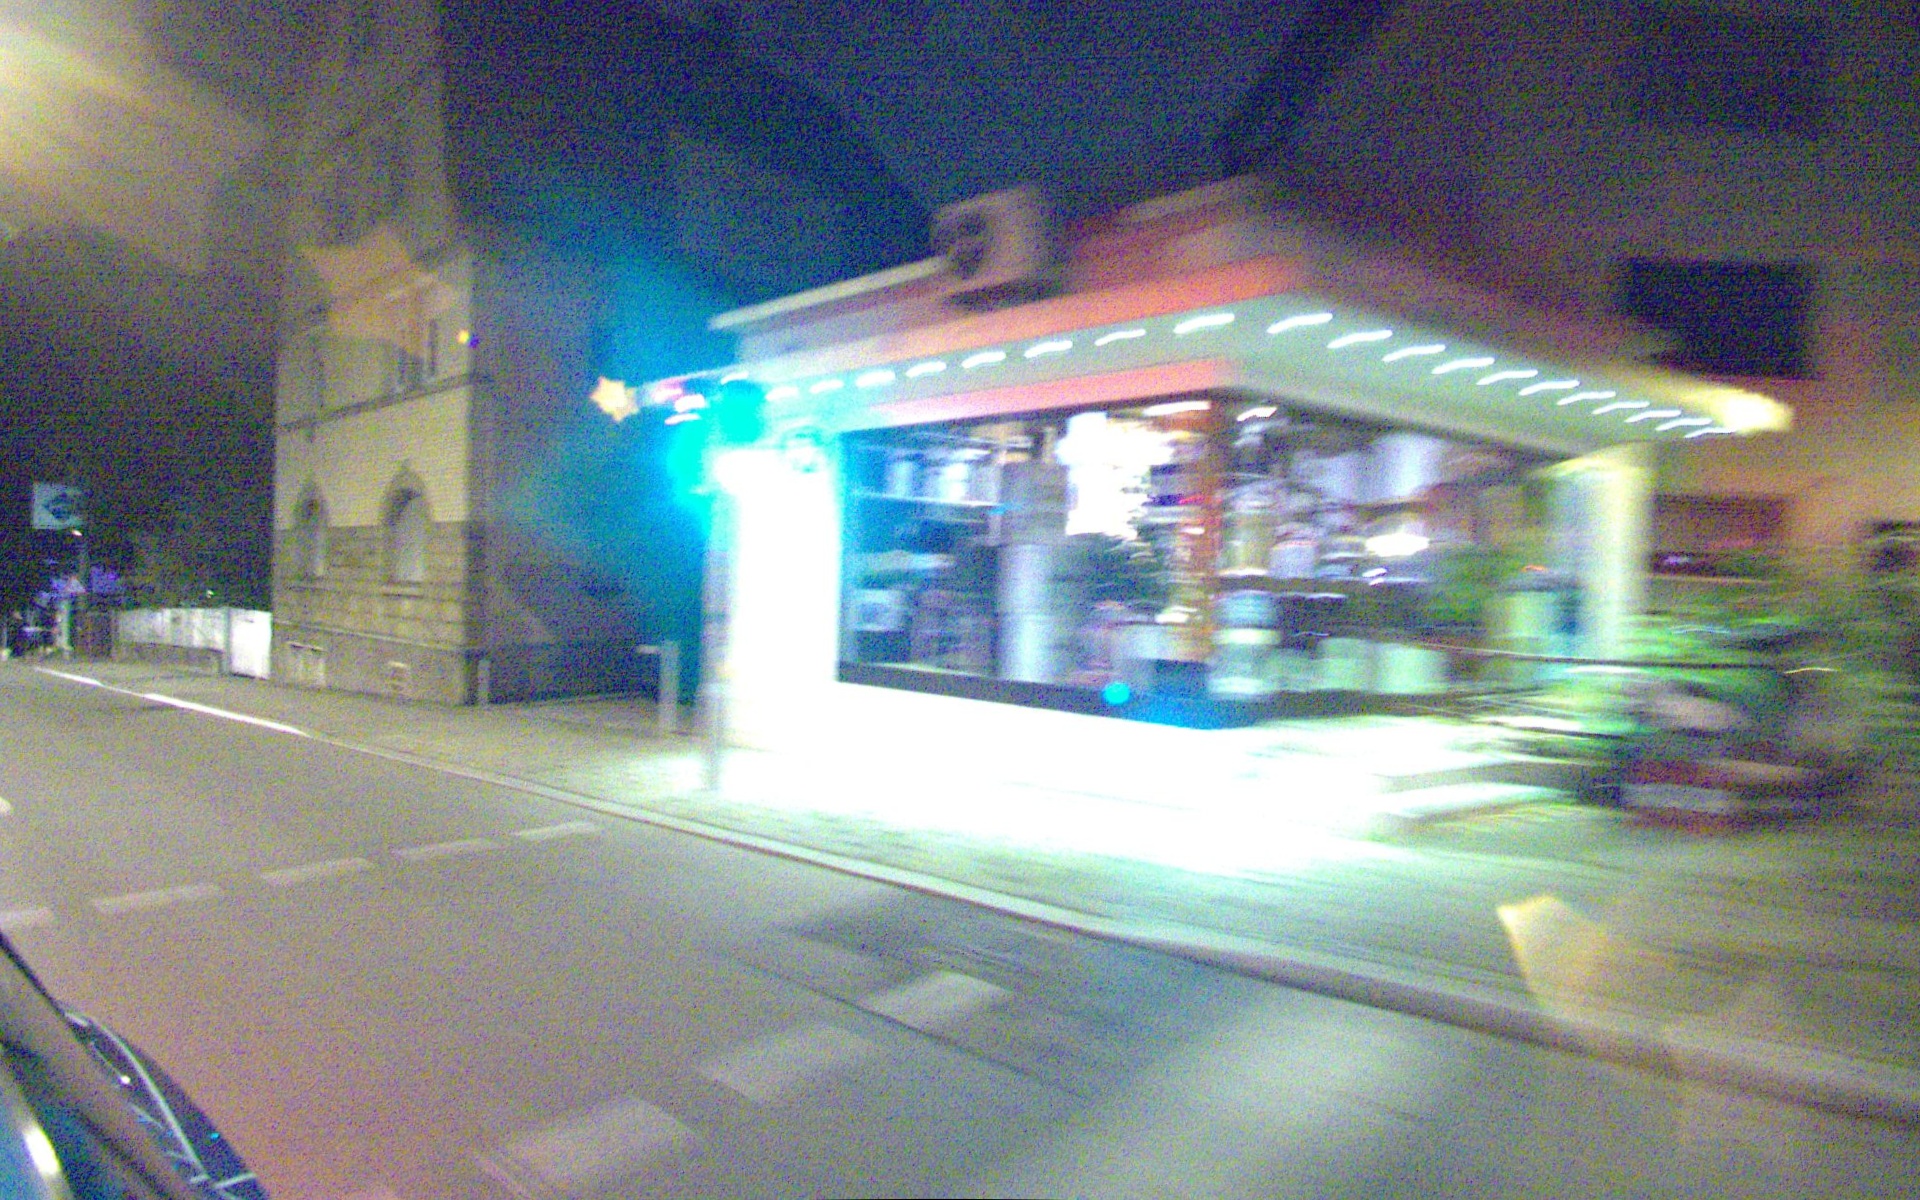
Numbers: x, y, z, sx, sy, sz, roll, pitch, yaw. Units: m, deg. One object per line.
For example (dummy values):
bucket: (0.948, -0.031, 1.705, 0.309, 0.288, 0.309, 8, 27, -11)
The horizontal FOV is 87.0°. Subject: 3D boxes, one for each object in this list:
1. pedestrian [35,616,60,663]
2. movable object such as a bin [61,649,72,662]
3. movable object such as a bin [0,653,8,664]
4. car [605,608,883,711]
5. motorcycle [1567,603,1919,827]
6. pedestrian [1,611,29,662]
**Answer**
pedestrian: (-30.820, 1.327, 34.175, 0.589, 1.541, 0.554, -1, 0, 42)
movable object such as a bin: (-30.502, 1.891, 34.540, 0.466, 0.410, 0.228, -1, 0, 44)
movable object such as a bin: (-32.133, 1.965, 33.966, 0.466, 0.354, 0.228, -1, 0, 44)
car: (-3.217, 0.850, 15.677, 1.801, 1.374, 3.946, -1, -2, 40)
motorcycle: (4.909, 0.663, 6.195, 2.010, 1.238, 0.619, -1, 0, -3)
pedestrian: (-31.180, 1.196, 33.390, 0.748, 1.654, 0.640, -2, 0, 44)
